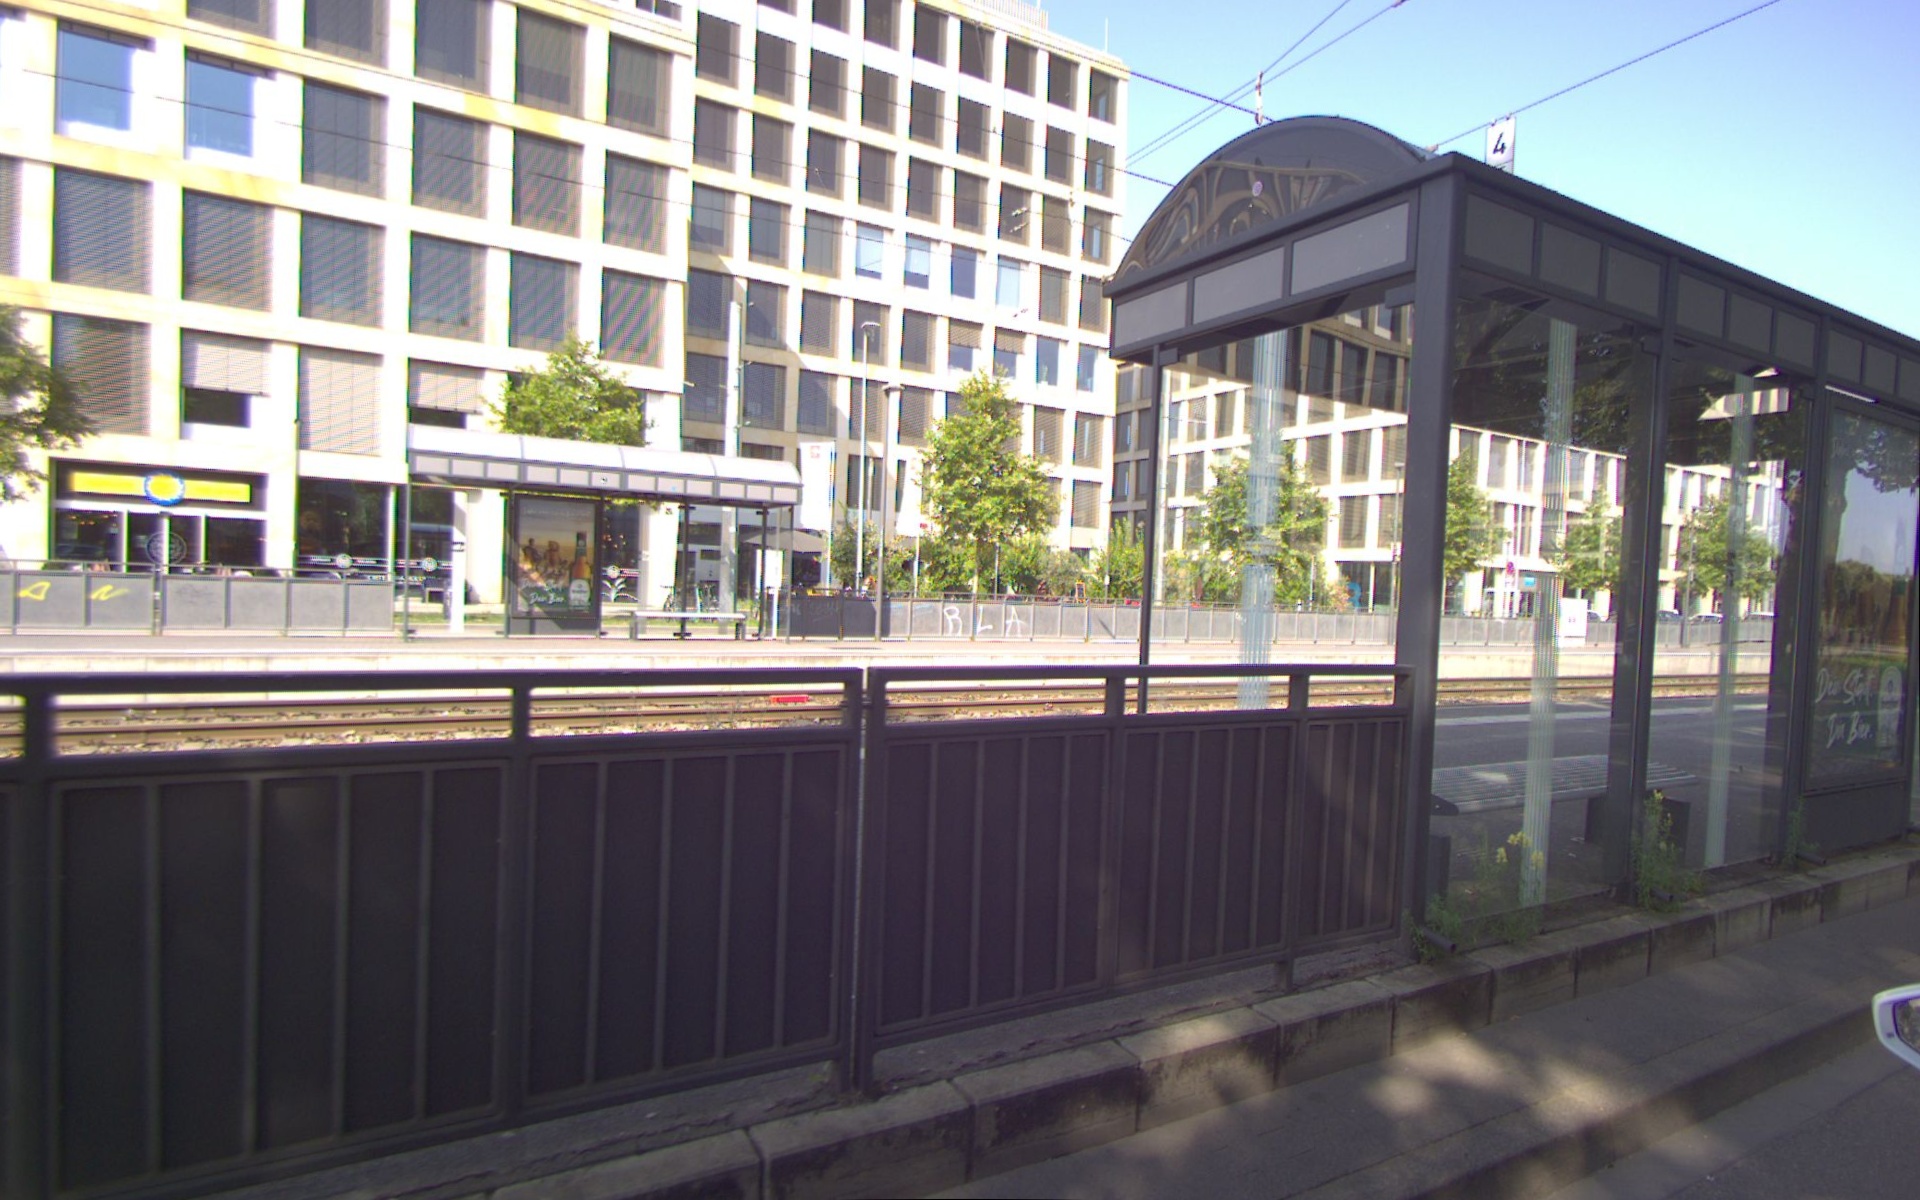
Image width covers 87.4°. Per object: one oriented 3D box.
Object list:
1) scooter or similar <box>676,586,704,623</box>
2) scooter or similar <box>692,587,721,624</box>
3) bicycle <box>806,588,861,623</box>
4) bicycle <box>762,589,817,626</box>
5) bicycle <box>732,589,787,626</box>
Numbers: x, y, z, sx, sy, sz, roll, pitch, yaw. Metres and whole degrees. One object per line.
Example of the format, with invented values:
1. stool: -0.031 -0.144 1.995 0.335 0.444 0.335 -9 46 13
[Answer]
1. scooter or similar: -7.733 0.113 28.725 0.367 0.999 1.493 1 1 -30
2. scooter or similar: -7.332 0.146 29.033 0.390 0.999 1.515 1 1 -30
3. bicycle: -3.961 0.153 31.328 0.812 0.999 2.421 1 1 -30
4. bicycle: -5.152 0.212 30.177 0.812 0.999 2.421 1 1 -30
5. bicycle: -5.951 0.205 29.698 0.812 0.999 2.421 1 1 -30
